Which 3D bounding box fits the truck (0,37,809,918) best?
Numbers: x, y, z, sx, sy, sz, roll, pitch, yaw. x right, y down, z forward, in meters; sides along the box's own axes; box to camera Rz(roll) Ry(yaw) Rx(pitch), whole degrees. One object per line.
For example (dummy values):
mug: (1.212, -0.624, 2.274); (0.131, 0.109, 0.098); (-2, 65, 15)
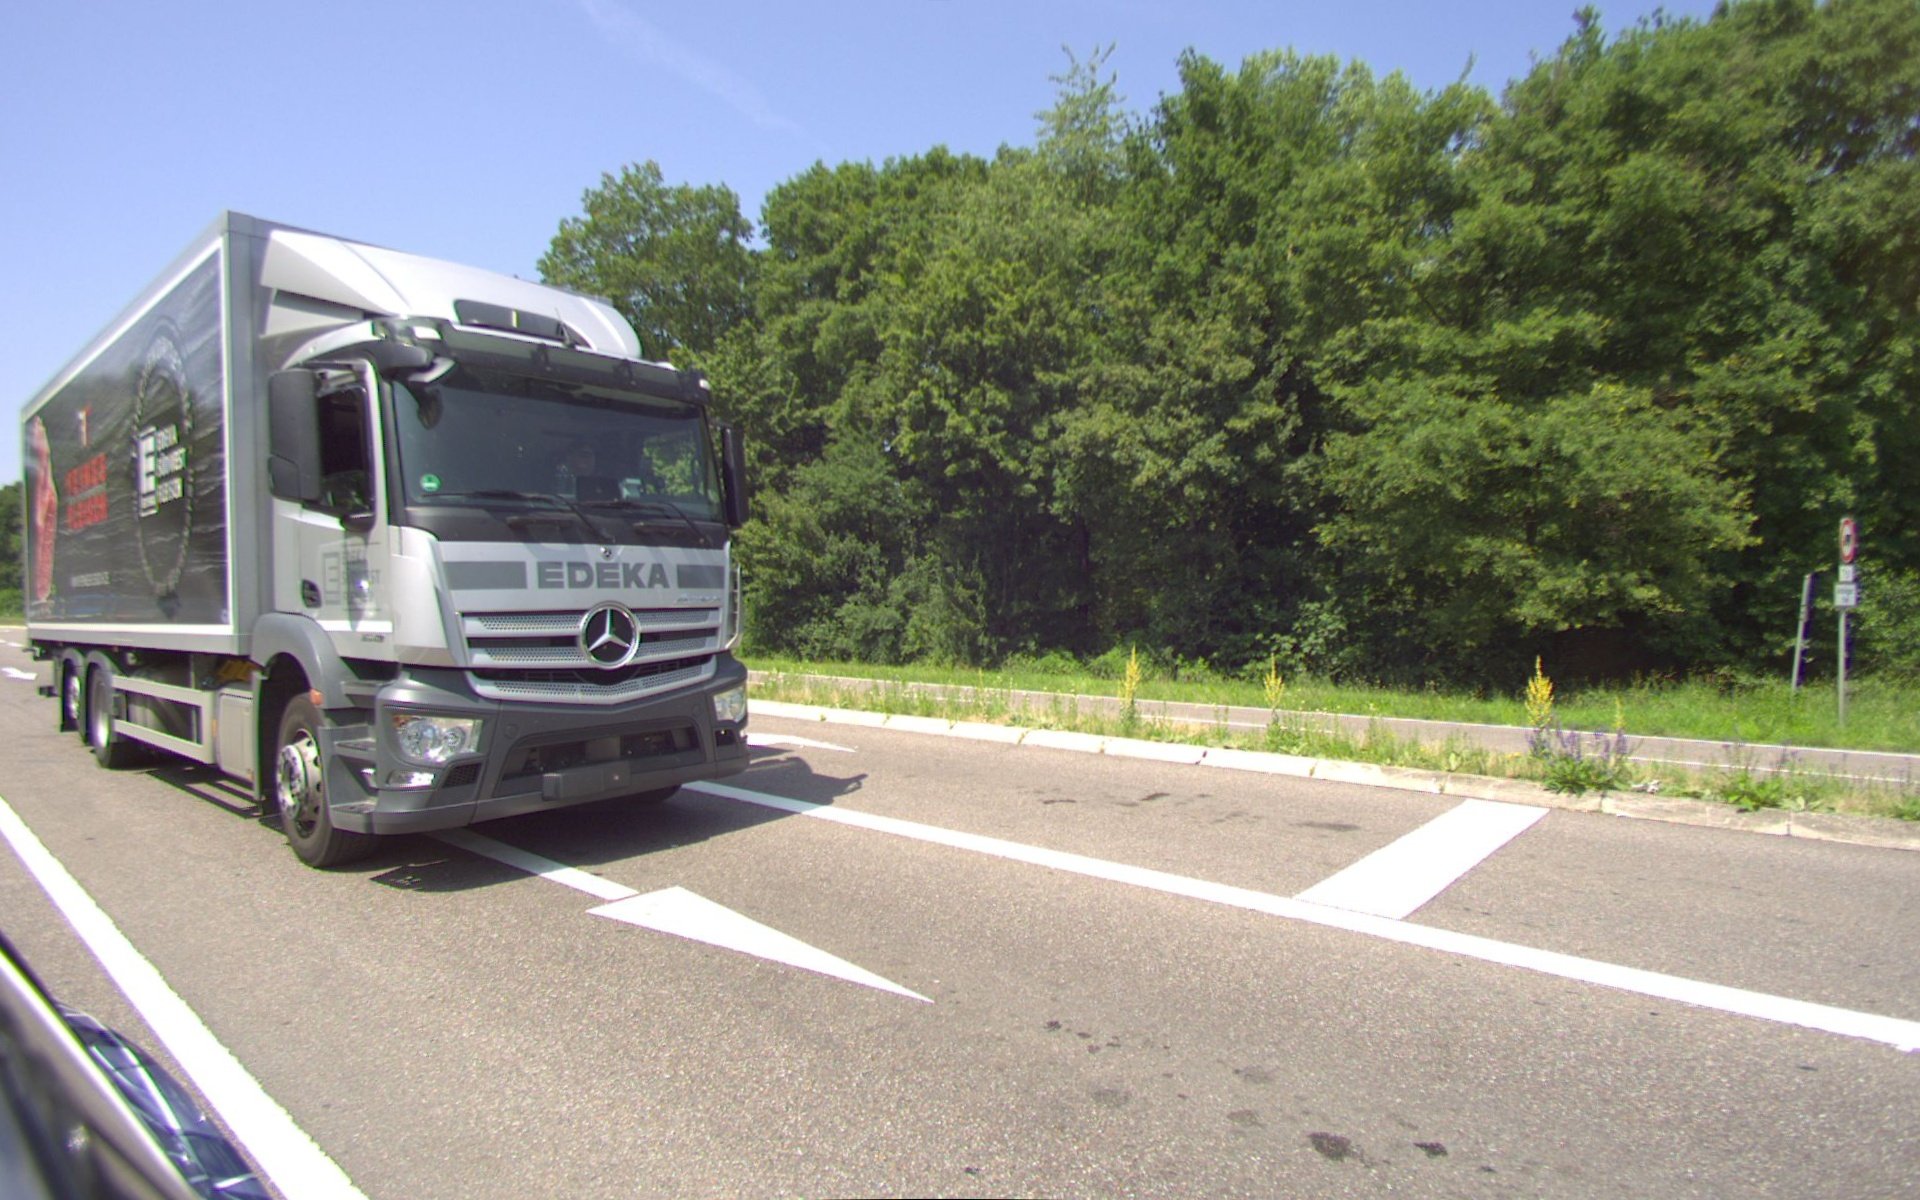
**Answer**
truck: (-6.179, -0.518, 9.203); (11.312, 3.914, 2.718); (-1, 0, 40)
